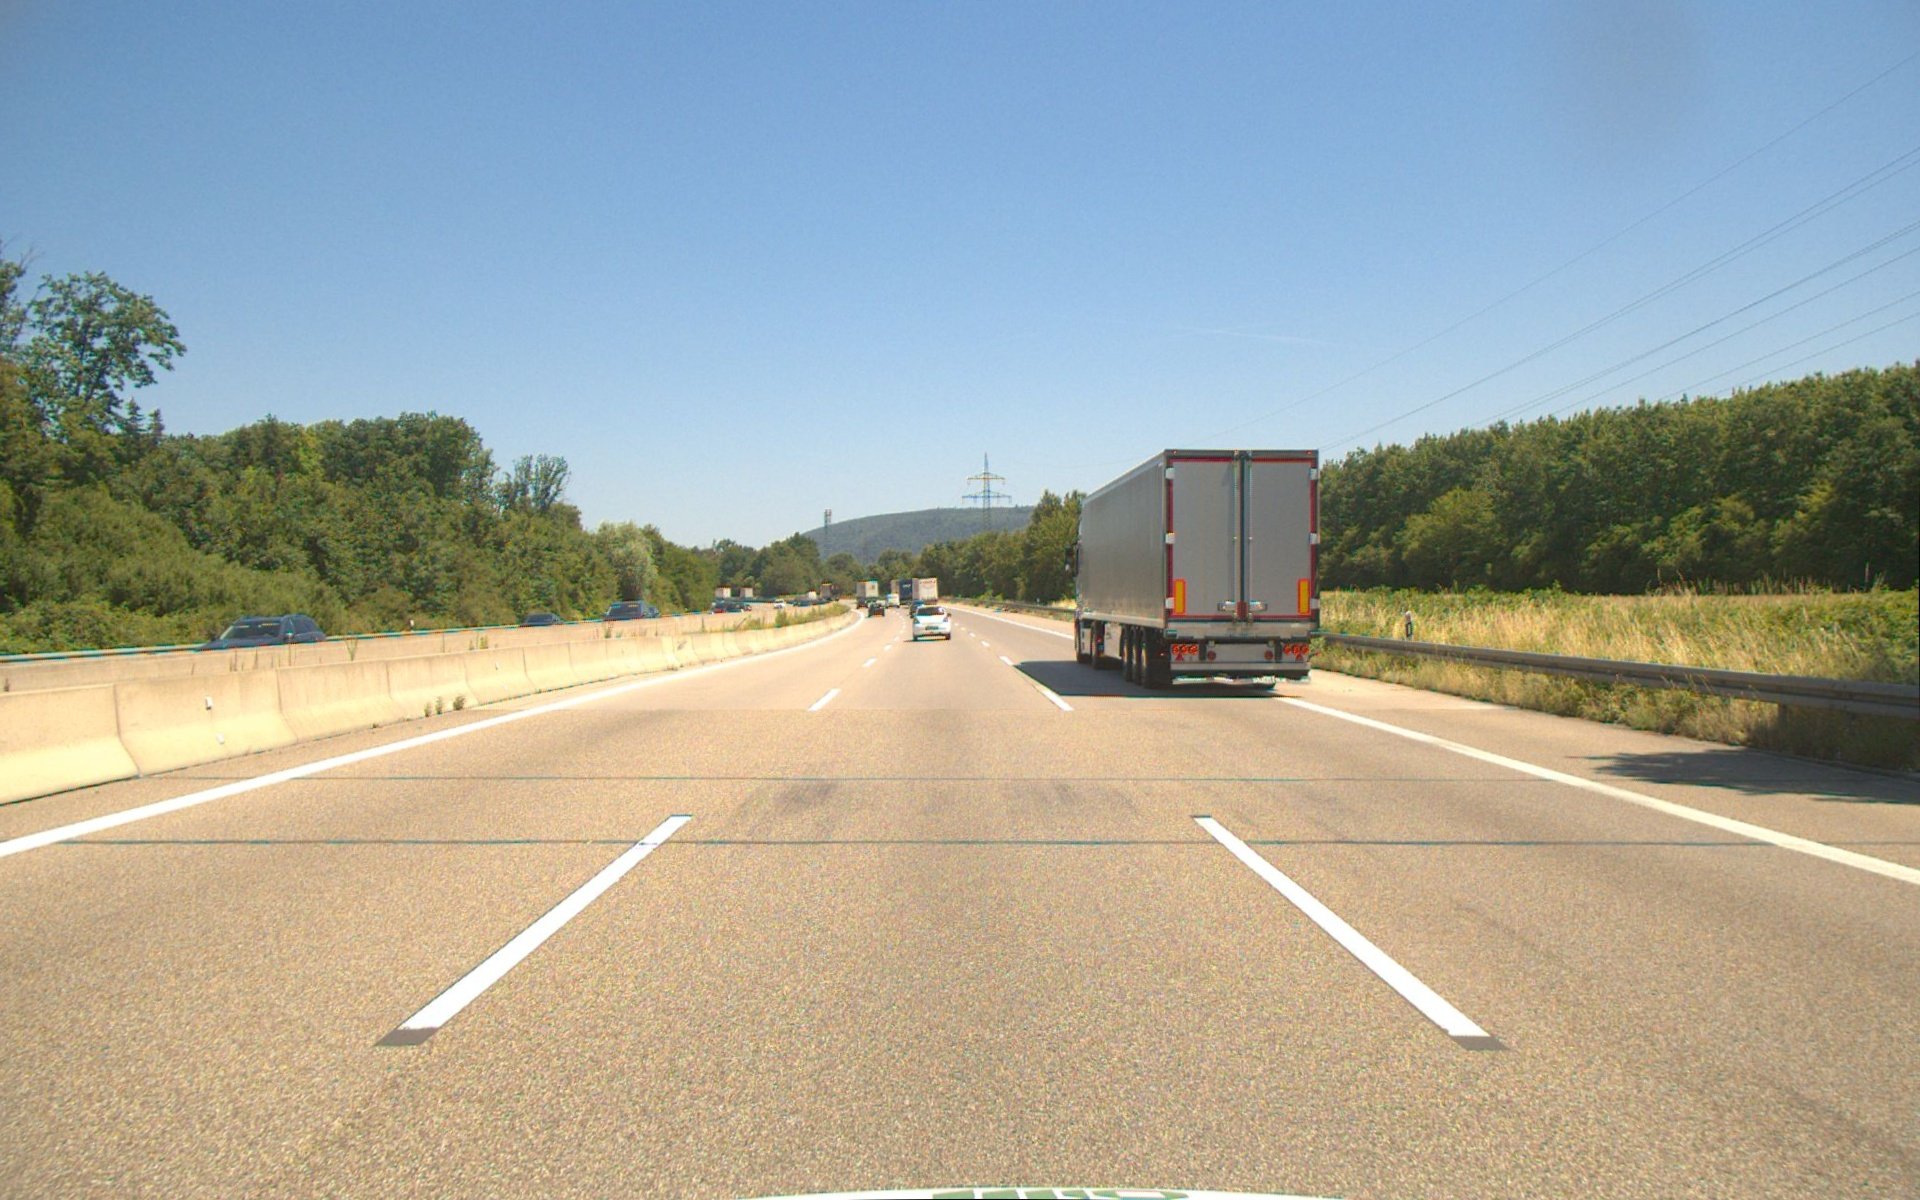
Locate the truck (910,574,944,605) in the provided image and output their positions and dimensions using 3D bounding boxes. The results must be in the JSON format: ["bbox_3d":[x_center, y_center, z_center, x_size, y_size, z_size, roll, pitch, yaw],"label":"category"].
[{"bbox_3d":[-4.657,-1.417,231.172,3.746,3.956,14.141,-4,0,-4],"label":"truck"}]

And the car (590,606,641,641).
[{"bbox_3d":[-15.035,1.003,72.409,1.529,1.443,3.522,-1,0,-1],"label":"car"}]

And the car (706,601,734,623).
[{"bbox_3d":[-20.157,0.999,139.003,1.763,1.699,4.216,-2,0,-2],"label":"car"}]

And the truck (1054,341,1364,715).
[{"bbox_3d":[4.453,-1.230,35.232,3.504,5.888,18.243,0,1,-1],"label":"truck"}]

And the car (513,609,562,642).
[{"bbox_3d":[-22.353,1.359,87.711,1.669,1.687,4.088,-1,-1,-2],"label":"car"}]

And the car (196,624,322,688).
[{"bbox_3d":[-17.228,1.339,40.809,1.597,1.443,3.523,-1,0,0],"label":"car"}]

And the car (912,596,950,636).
[{"bbox_3d":[-1.262,0.690,72.763,1.608,1.691,3.359,1,0,-1],"label":"car"}]

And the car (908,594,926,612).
[{"bbox_3d":[-4.569,0.274,175.595,1.579,1.755,3.570,-4,0,-4],"label":"car"}]

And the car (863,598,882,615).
[{"bbox_3d":[-9.493,0.704,178.530,1.982,1.730,3.997,1,0,-4],"label":"car"}]

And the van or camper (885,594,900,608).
[{"bbox_3d":[-9.939,0.175,242.120,1.832,1.869,3.995,-4,0,-6],"label":"van or camper"}]
